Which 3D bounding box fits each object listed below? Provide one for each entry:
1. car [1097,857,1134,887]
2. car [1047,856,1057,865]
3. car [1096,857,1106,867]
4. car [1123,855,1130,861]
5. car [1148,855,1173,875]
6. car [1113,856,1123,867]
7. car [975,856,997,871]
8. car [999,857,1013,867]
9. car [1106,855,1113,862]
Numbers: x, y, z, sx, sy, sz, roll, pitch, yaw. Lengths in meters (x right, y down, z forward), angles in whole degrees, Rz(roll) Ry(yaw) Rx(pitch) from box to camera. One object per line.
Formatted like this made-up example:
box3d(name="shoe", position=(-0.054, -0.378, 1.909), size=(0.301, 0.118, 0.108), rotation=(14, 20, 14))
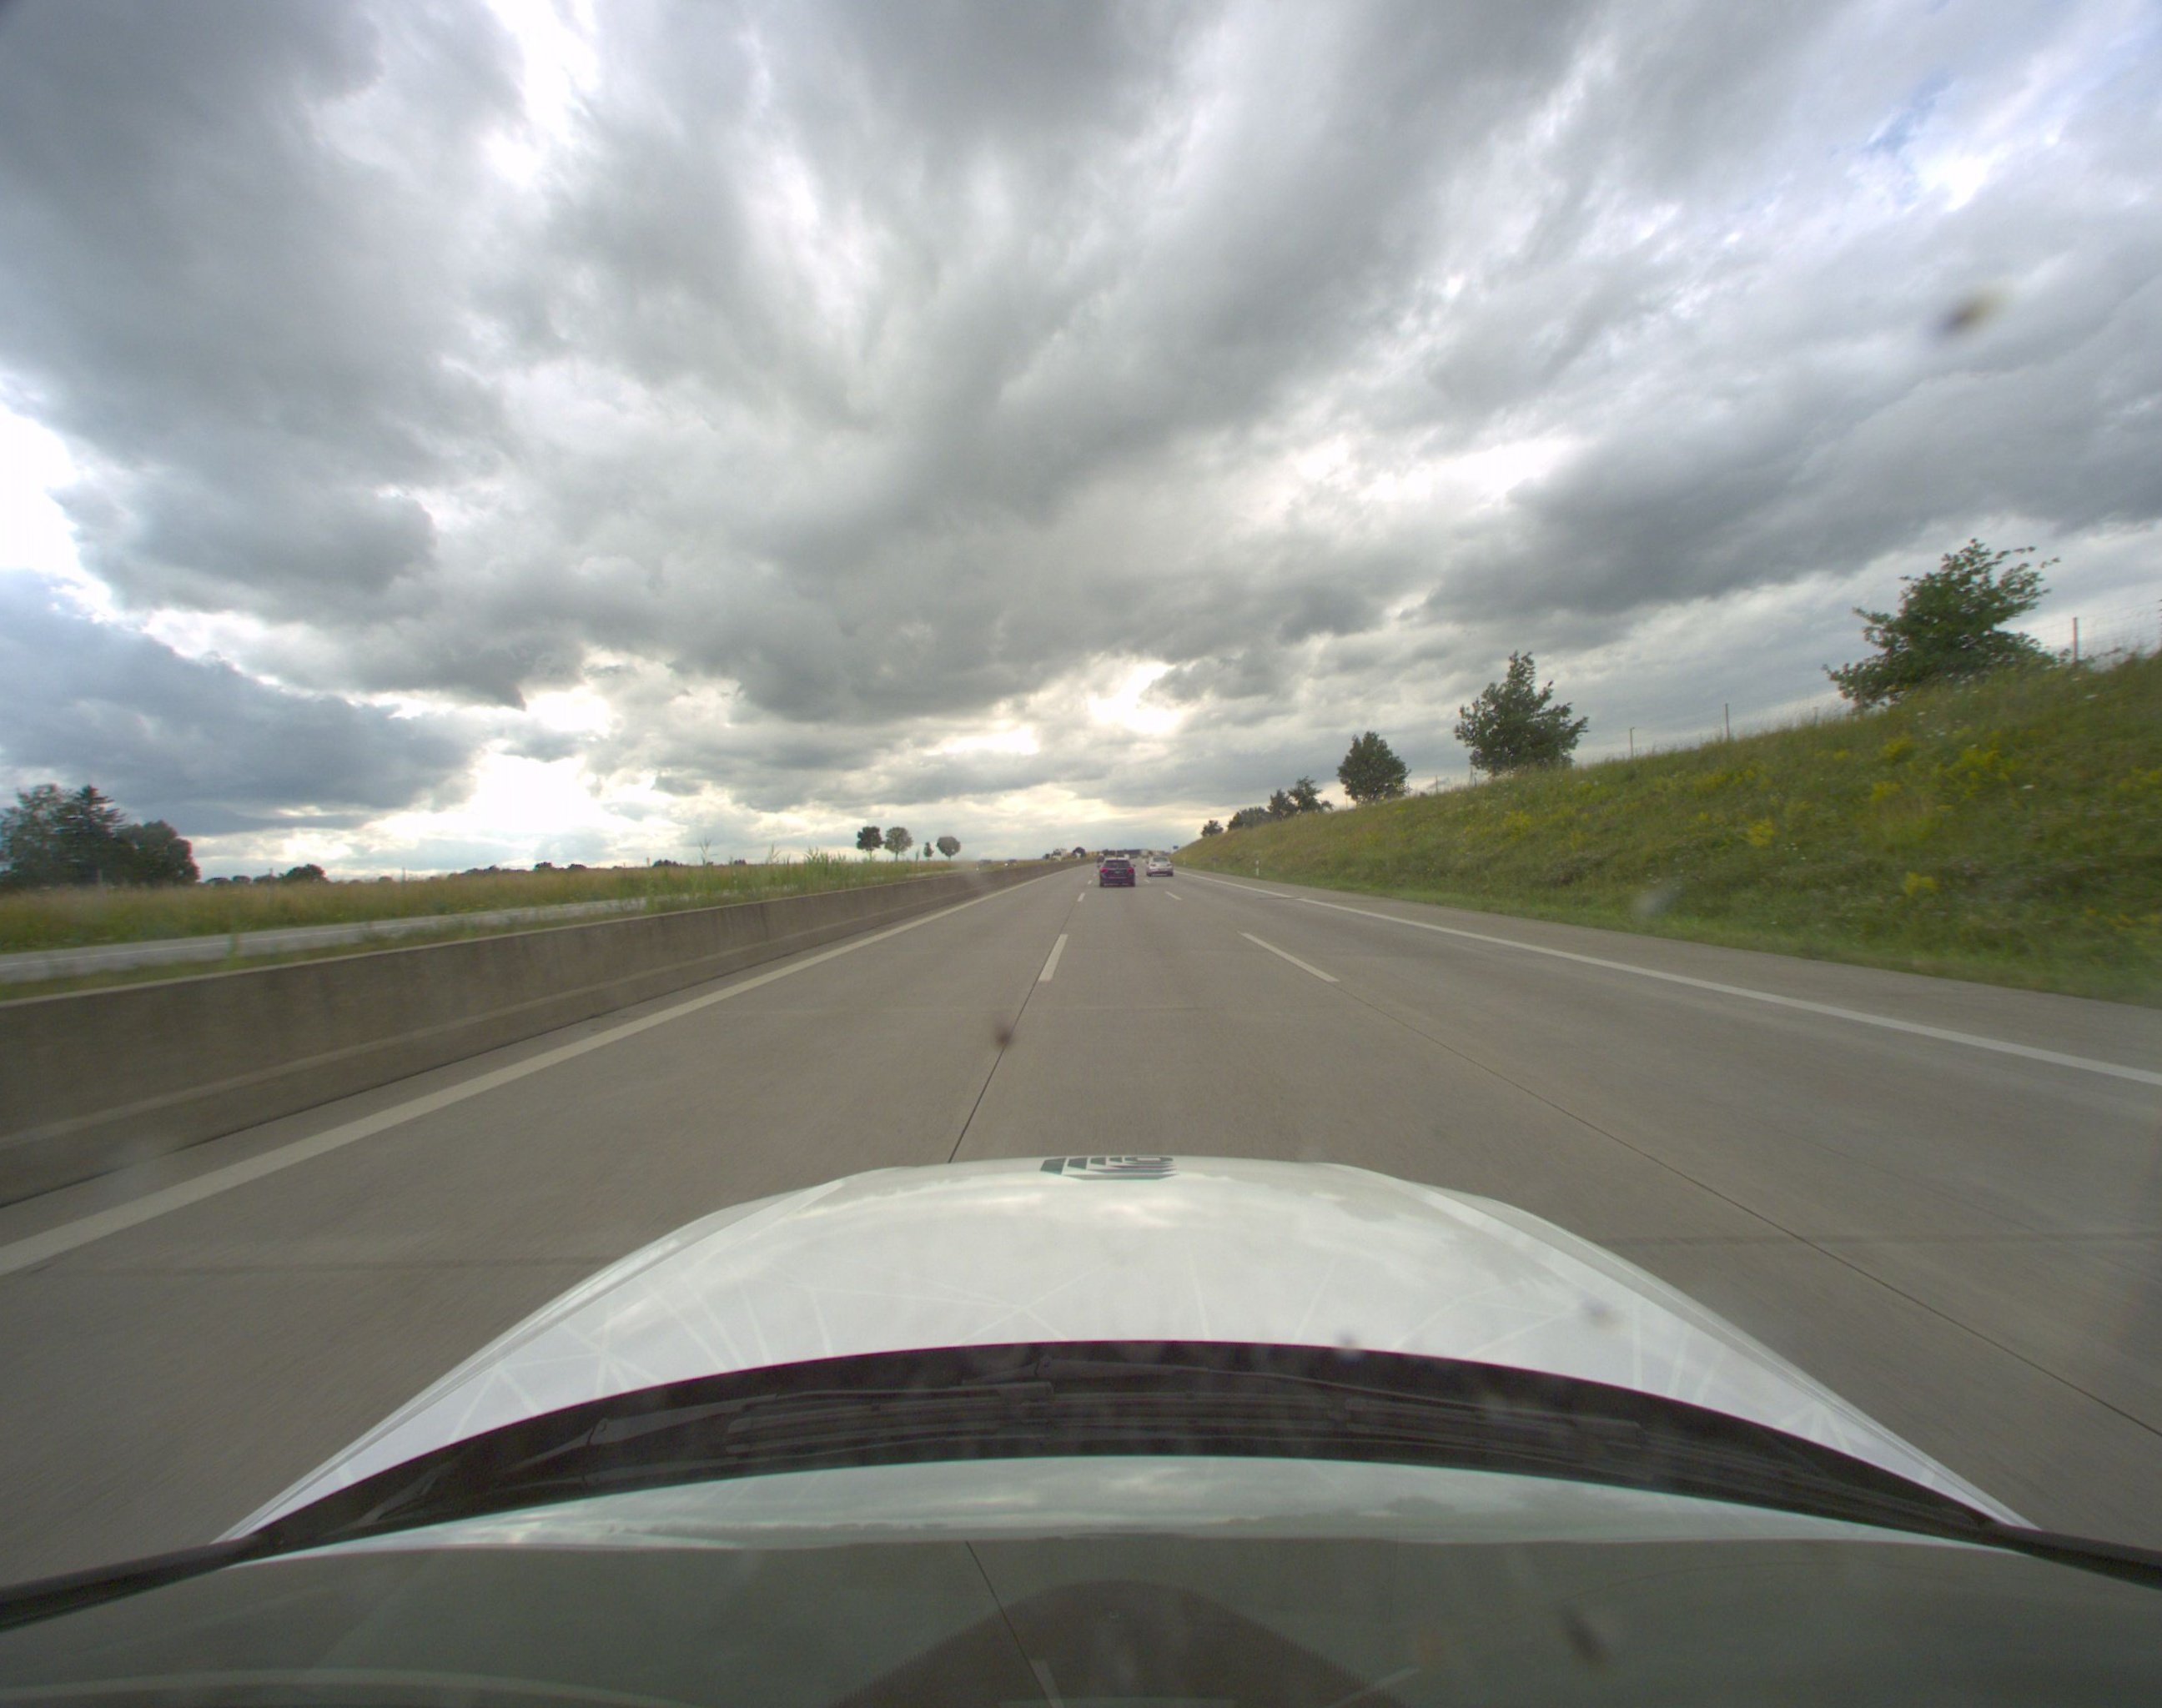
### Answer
box3d(name="car", position=(1.778, 0.870, 41.341), size=(1.767, 1.413, 4.003), rotation=(-1, -1, 3))
box3d(name="car", position=(-5.305, 1.254, 149.356), size=(1.683, 1.610, 4.002), rotation=(-1, 0, 2))
box3d(name="car", position=(4.276, 1.693, 173.608), size=(2.040, 2.014, 3.999), rotation=(-1, -1, 0))
box3d(name="car", position=(14.389, 1.314, 257.811), size=(1.984, 2.014, 4.005), rotation=(-1, -1, 5))
box3d(name="car", position=(5.825, 0.809, 59.994), size=(1.780, 1.403, 4.227), rotation=(-1, -1, 5))
box3d(name="car", position=(7.437, 1.497, 163.580), size=(1.987, 2.014, 4.000), rotation=(-1, -1, 1))
box3d(name="car", position=(-11.407, 1.167, 98.353), size=(1.986, 1.684, 4.065), rotation=(-1, 0, 2))
box3d(name="car", position=(-11.219, 1.222, 122.271), size=(1.655, 1.399, 4.002), rotation=(-1, 0, 2))
box3d(name="car", position=(8.006, 1.238, 228.698), size=(1.987, 2.014, 3.999), rotation=(-1, -1, 0))
